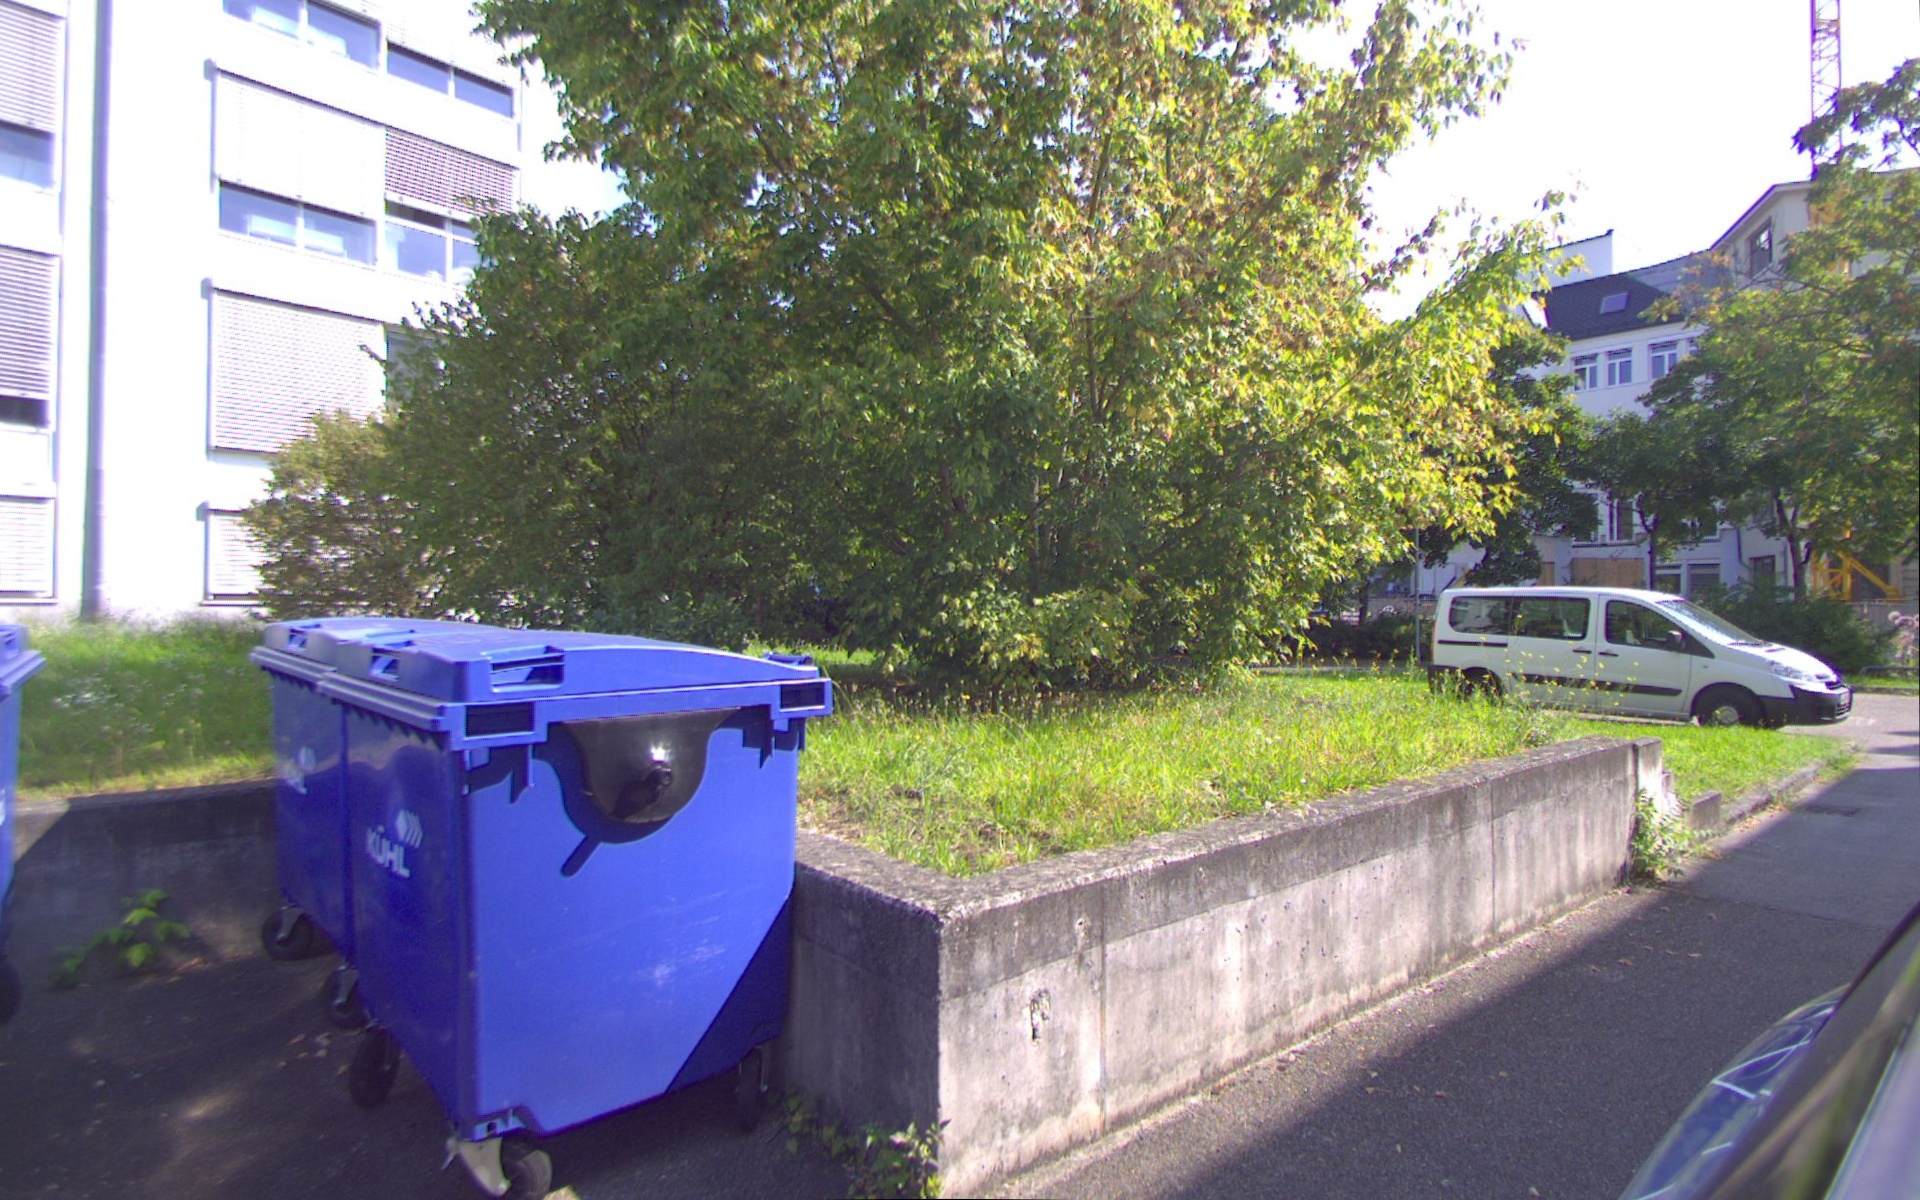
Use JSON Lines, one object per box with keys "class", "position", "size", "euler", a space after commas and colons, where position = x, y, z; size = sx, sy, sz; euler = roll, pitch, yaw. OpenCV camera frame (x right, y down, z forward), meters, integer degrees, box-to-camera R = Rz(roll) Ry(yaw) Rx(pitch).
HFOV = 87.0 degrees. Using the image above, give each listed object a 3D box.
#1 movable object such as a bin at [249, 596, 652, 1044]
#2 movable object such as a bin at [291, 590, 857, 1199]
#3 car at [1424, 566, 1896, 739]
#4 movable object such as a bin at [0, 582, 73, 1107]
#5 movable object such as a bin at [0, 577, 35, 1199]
{"class": "movable object such as a bin", "position": [-1.971, 0.672, 3.895], "size": [1.226, 1.357, 1.059], "euler": [-1, -1, 45]}
{"class": "movable object such as a bin", "position": [-1.119, 0.664, 2.868], "size": [1.082, 1.357, 1.310], "euler": [1, -1, -44]}
{"class": "car", "position": [9.336, 0.618, 13.953], "size": [2.007, 1.945, 4.968], "euler": [0, -1, -38]}
{"class": "movable object such as a bin", "position": [-3.261, 0.634, 2.808], "size": [1.096, 1.357, 1.238], "euler": [0, -1, -37]}
{"class": "movable object such as a bin", "position": [-2.438, 0.643, 1.762], "size": [1.174, 1.357, 1.302], "euler": [0, -1, -41]}
